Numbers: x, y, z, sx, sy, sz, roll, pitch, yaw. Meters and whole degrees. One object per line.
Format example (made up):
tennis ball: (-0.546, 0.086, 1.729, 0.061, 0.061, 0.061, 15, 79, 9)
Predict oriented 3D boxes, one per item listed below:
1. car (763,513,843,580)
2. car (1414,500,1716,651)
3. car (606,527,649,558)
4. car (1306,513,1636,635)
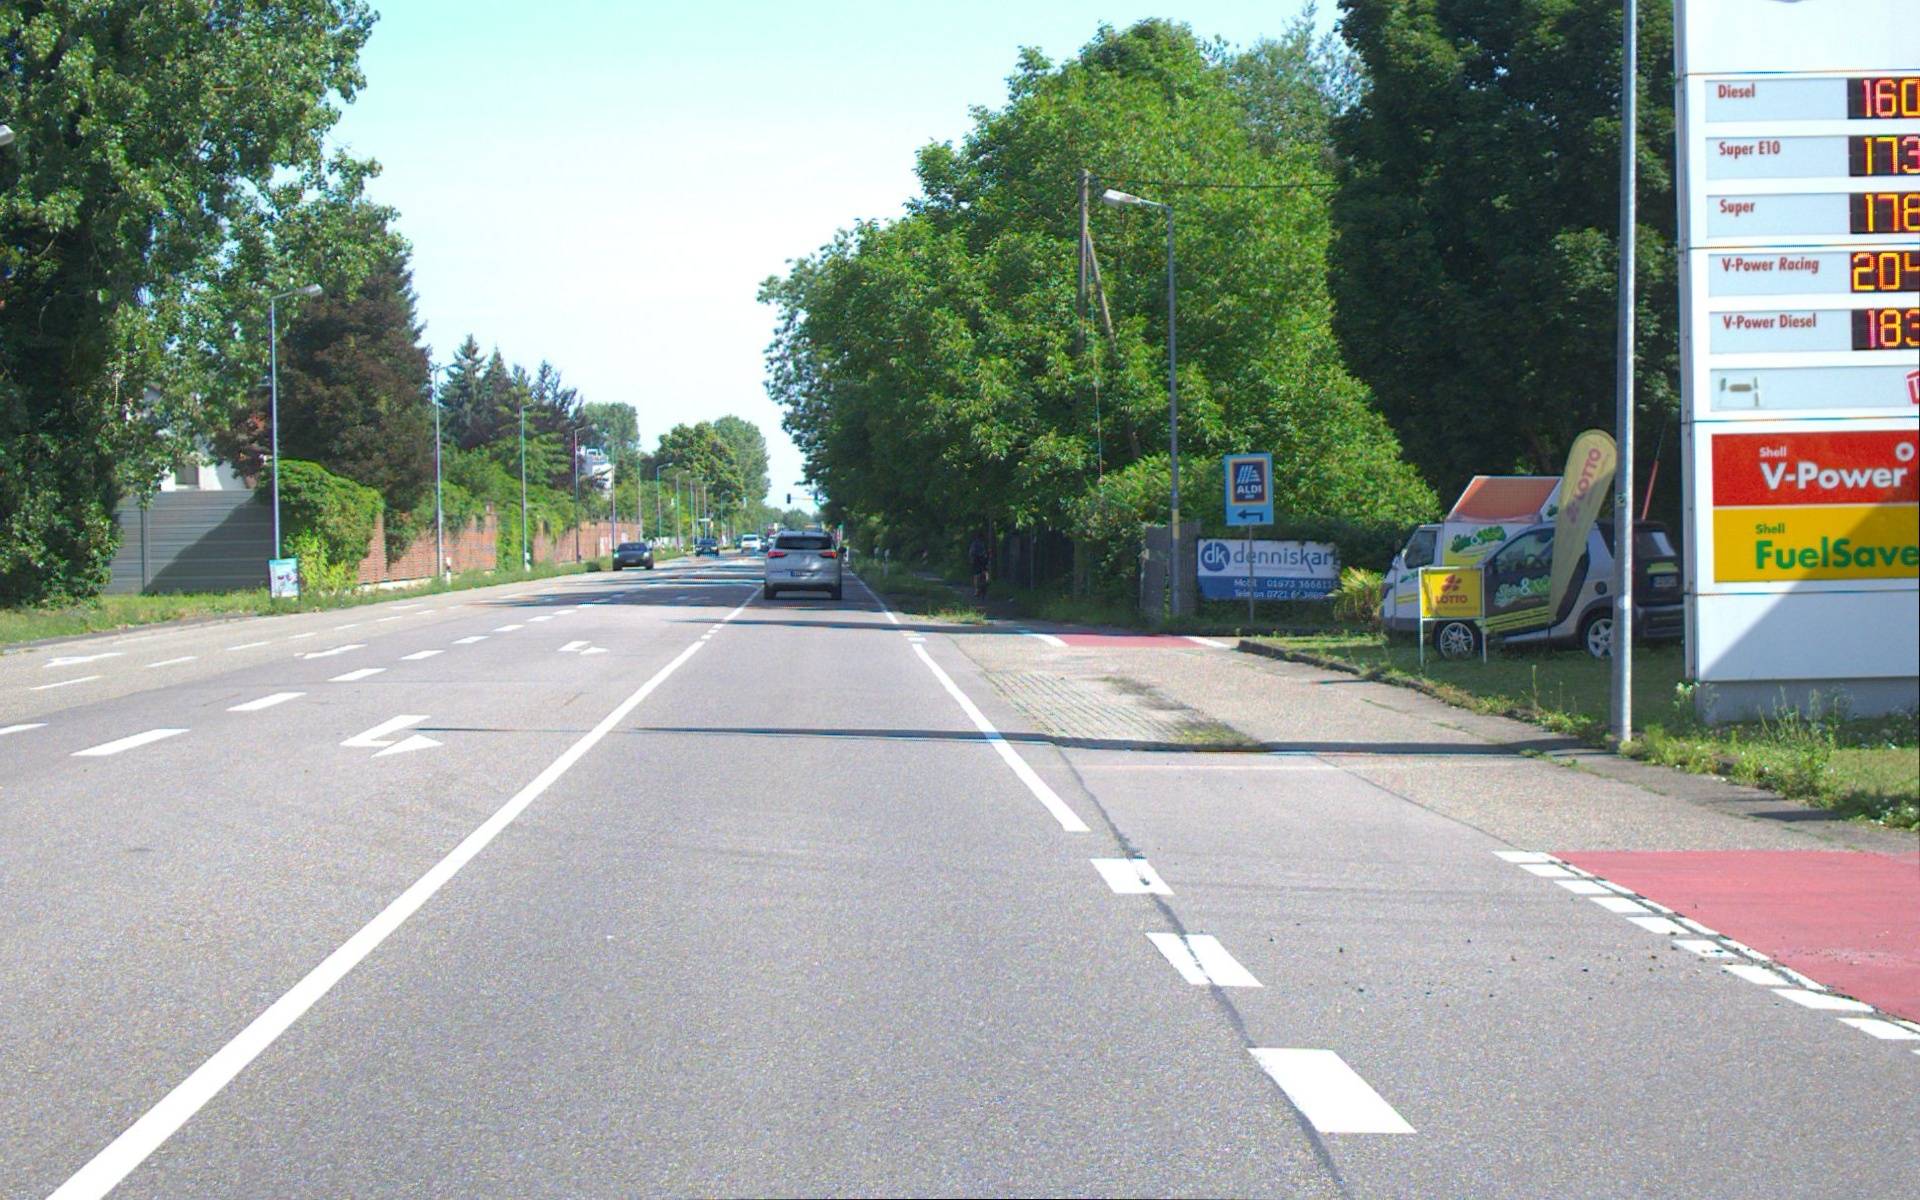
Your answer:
car: (-3.723, -1.263, 81.921, 1.846, 1.536, 4.225, 1, 1, -2)
car: (6.379, -0.247, 36.324, 2.729, 1.525, 1.574, 0, 0, 42)
car: (-17.209, -2.968, 177.871, 1.846, 1.491, 4.912, -3, 1, -2)
car: (6.701, -0.347, 45.247, 3.986, 1.525, 1.586, 1, 1, -9)
